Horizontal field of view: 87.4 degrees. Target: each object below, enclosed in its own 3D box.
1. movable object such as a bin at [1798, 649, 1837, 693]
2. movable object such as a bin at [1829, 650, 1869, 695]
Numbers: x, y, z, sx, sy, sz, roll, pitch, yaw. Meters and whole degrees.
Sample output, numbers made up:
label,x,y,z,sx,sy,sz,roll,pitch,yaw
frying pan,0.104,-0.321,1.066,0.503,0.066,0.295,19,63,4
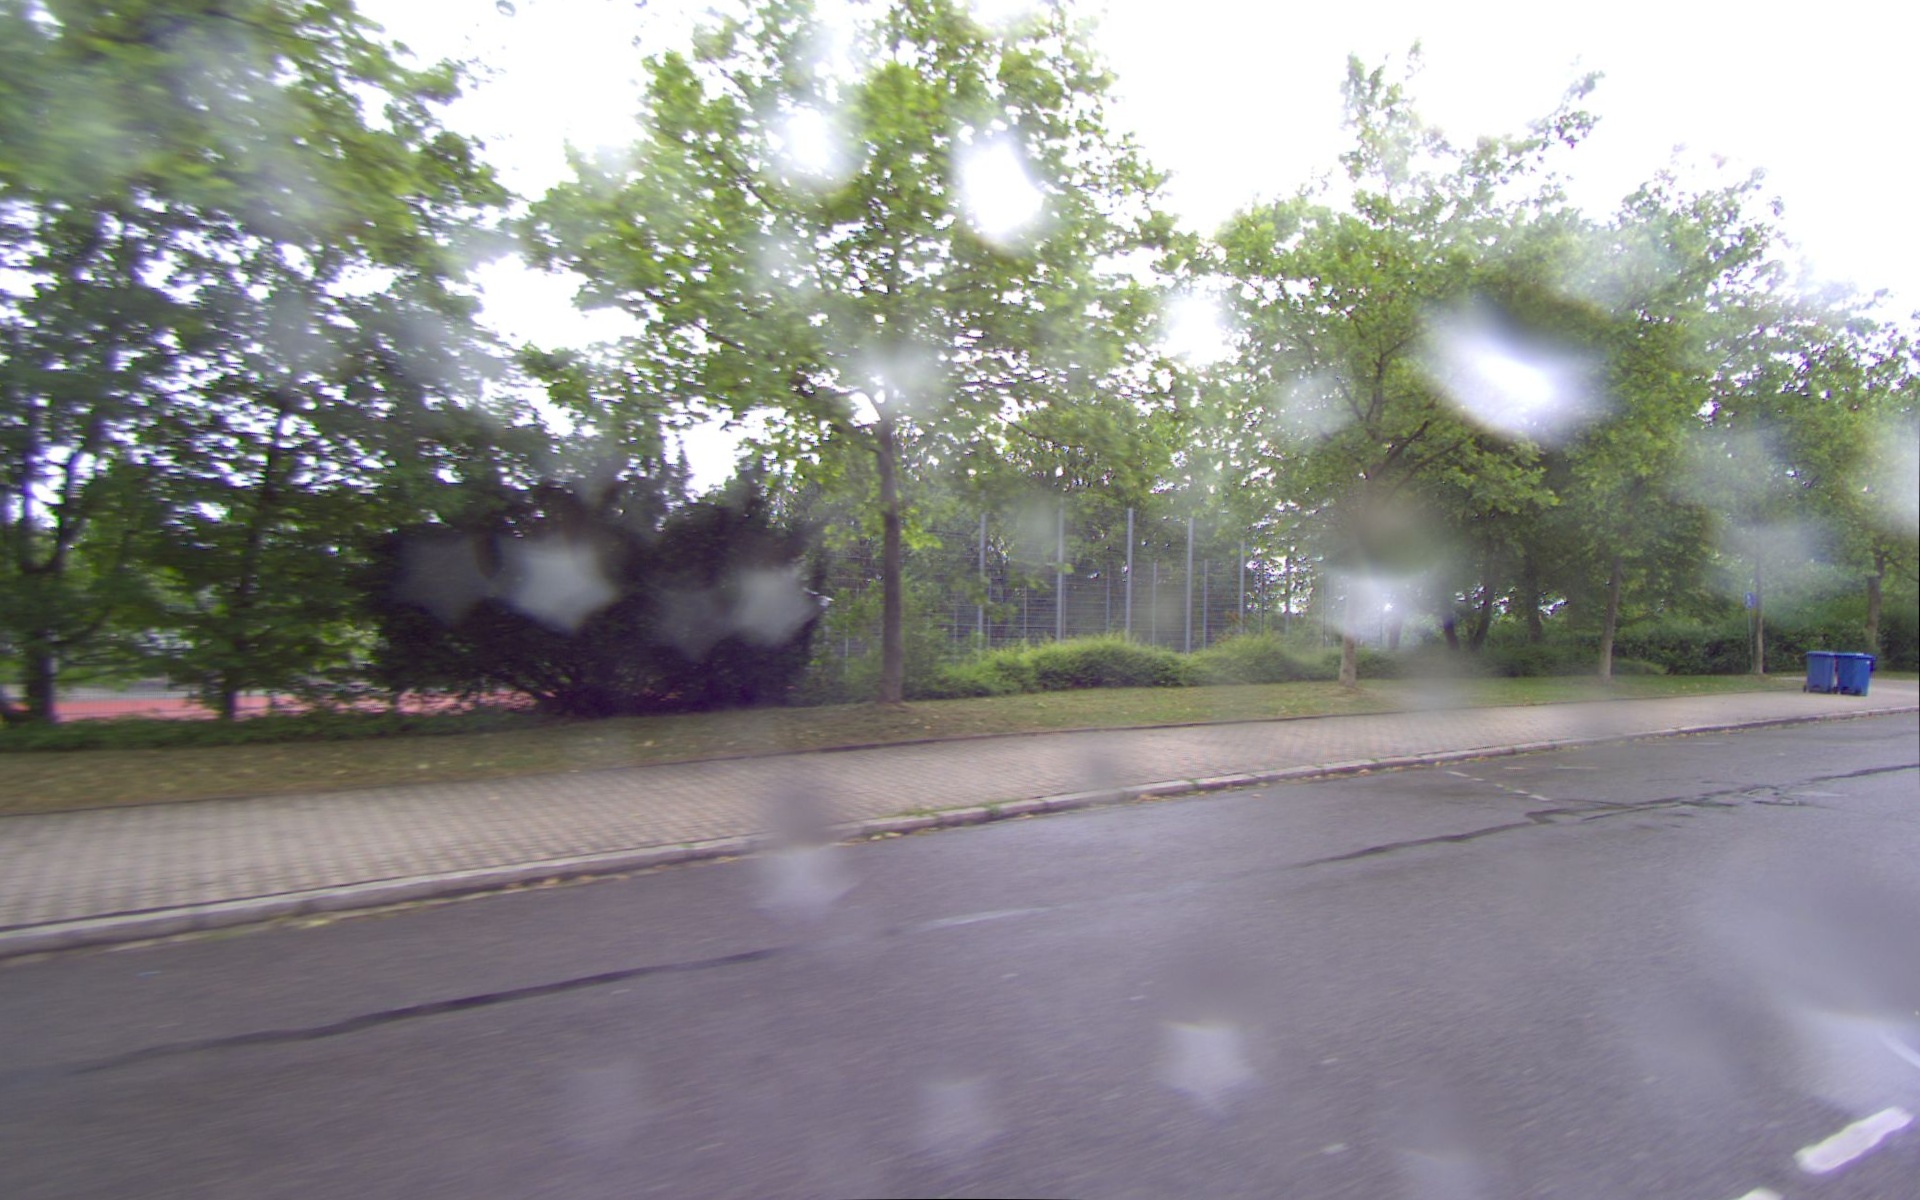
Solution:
label,x,y,z,sx,sy,sz,roll,pitch,yaw
movable object such as a bin,22.535,1.859,26.400,0.664,1.113,0.564,1,1,-29
movable object such as a bin,22.975,1.868,25.963,0.664,1.113,0.564,1,1,-29
